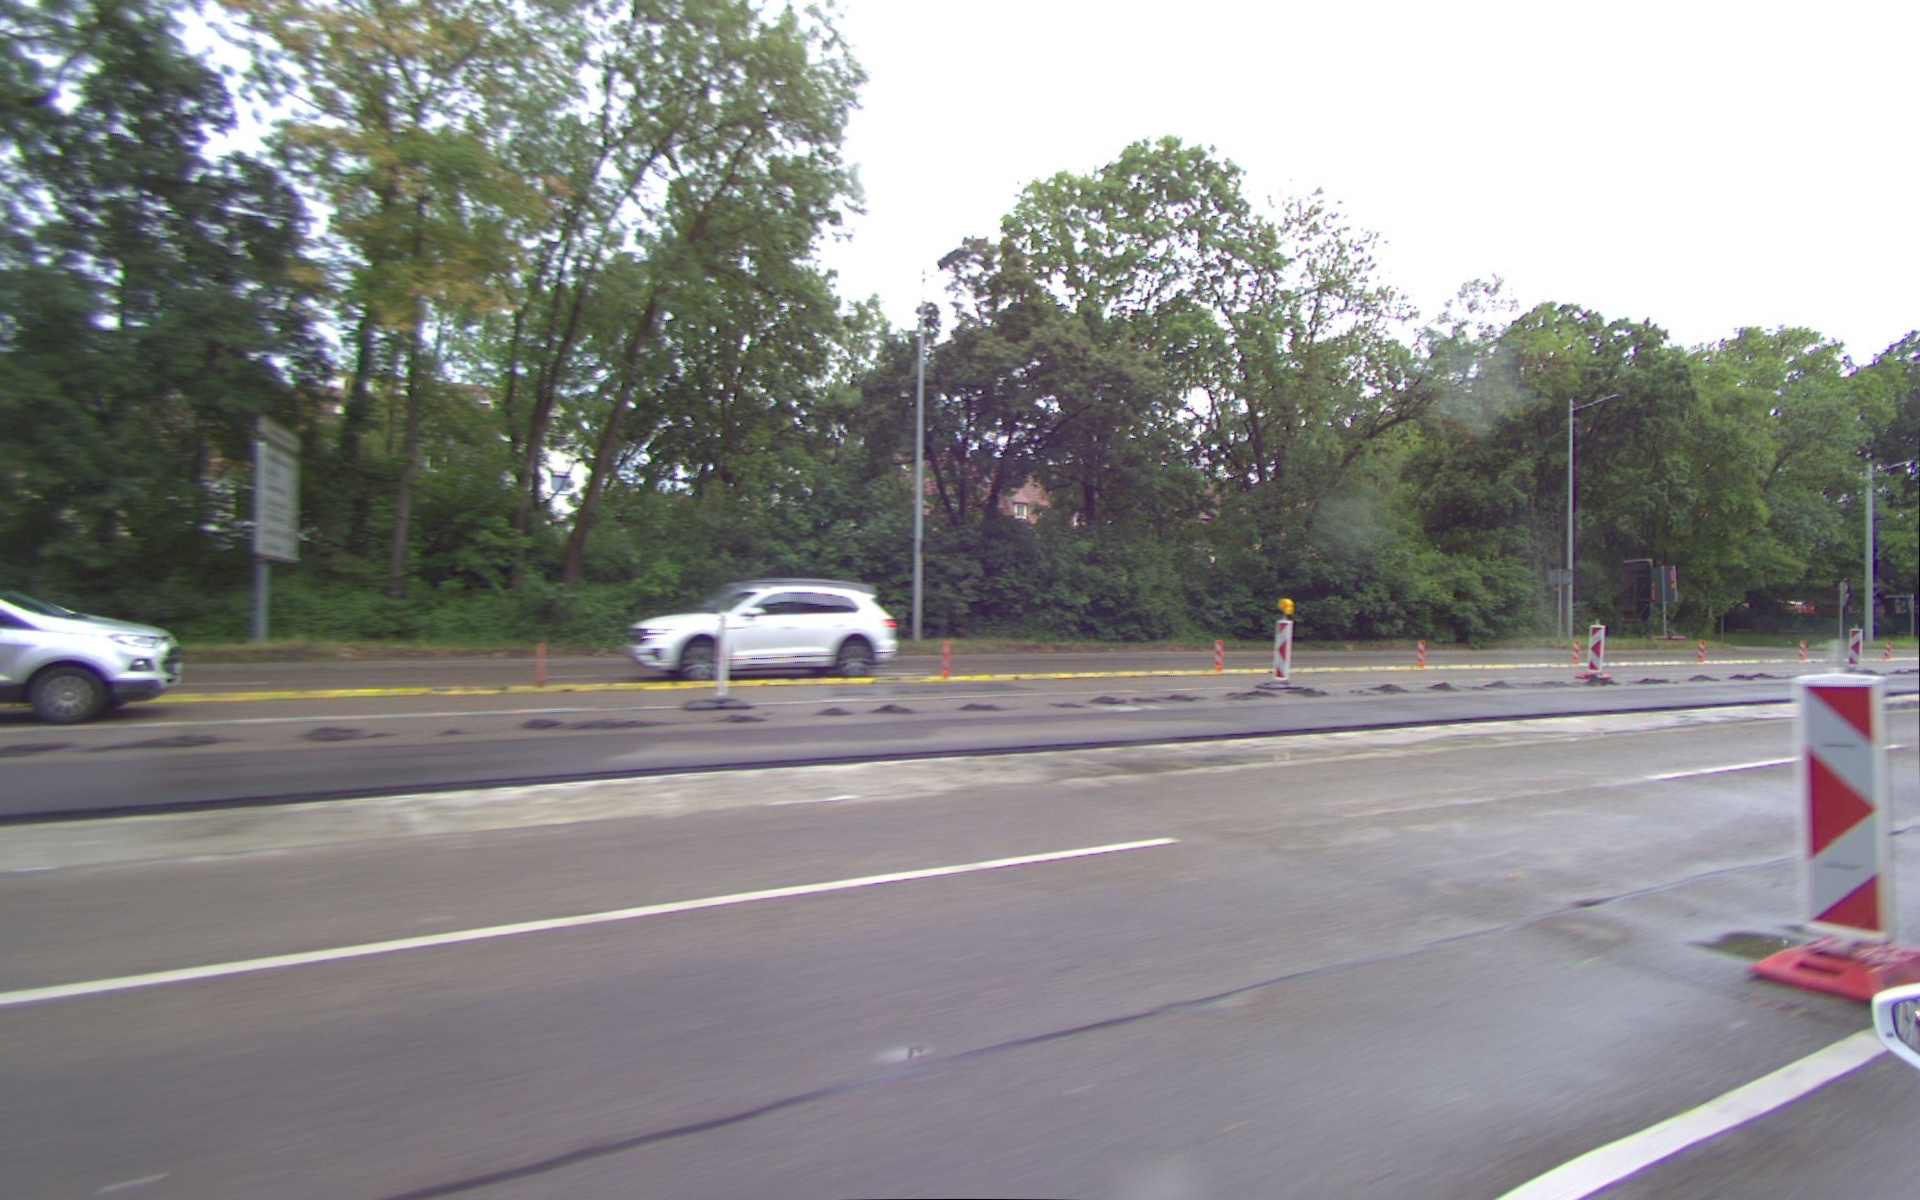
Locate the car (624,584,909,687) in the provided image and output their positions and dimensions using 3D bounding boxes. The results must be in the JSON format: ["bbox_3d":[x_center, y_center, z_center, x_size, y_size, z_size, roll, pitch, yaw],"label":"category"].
[{"bbox_3d":[-3.524,0.620,18.588,4.837,1.683,1.880,1,0,-31],"label":"car"}]

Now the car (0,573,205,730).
[{"bbox_3d":[-10.874,0.500,10.674,4.312,1.585,1.880,1,1,-30],"label":"car"}]
